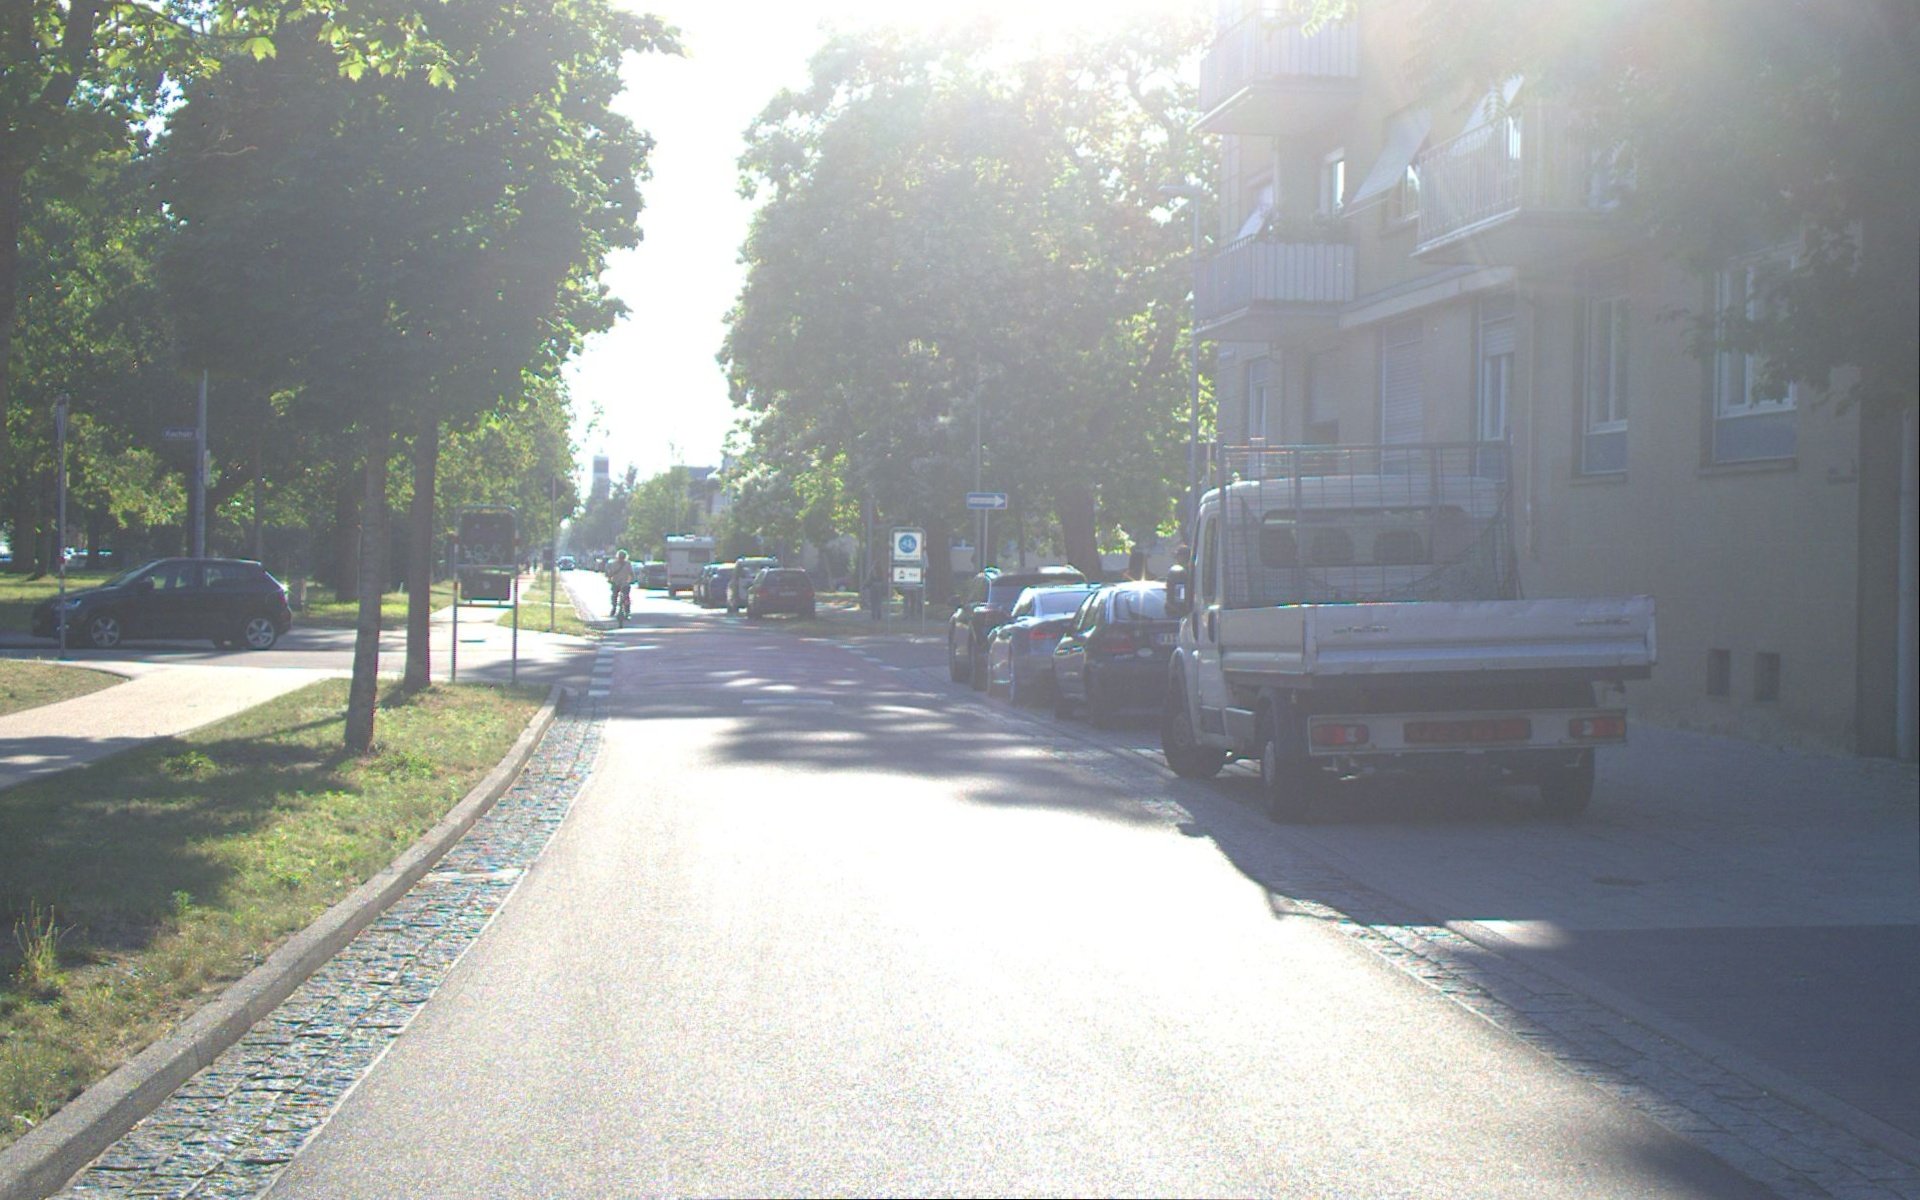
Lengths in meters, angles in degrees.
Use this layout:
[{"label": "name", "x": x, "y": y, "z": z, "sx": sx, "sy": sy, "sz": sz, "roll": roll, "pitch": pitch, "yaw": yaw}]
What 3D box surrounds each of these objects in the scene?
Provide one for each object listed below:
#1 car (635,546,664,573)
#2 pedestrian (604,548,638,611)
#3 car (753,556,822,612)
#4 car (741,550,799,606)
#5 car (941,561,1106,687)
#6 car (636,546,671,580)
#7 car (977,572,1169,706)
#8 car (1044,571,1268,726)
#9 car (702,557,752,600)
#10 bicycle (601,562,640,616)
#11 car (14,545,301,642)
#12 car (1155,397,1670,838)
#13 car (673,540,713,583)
[{"label": "car", "x": -23.224, "y": -3.057, "z": 257.258, "sx": 1.993, "sy": 1.963, "sz": 4.001, "roll": 2, "pitch": 1, "yaw": -5}, {"label": "pedestrian", "x": -7.863, "y": -0.485, "z": 79.783, "sx": 0.688, "sy": 1.429, "sz": 1.024, "roll": 2, "pitch": 1, "yaw": -1}, {"label": "car", "x": -4.905, "y": -0.471, "z": 98.103, "sx": 1.793, "sy": 1.504, "sz": 4.000, "roll": 2, "pitch": 1, "yaw": -1}, {"label": "car", "x": -6.223, "y": -0.732, "z": 112.055, "sx": 1.793, "sy": 1.718, "sz": 4.001, "roll": 2, "pitch": 1, "yaw": -4}, {"label": "car", "x": 0.790, "y": 0.278, "z": 45.220, "sx": 1.690, "sy": 1.560, "sz": 4.105, "roll": 0, "pitch": 1, "yaw": -6}, {"label": "car", "x": -18.302, "y": -2.229, "z": 205.488, "sx": 1.993, "sy": 1.963, "sz": 4.001, "roll": 2, "pitch": 1, "yaw": -5}, {"label": "car", "x": 1.255, "y": 0.408, "z": 39.762, "sx": 1.690, "sy": 1.435, "sz": 4.105, "roll": 0, "pitch": 1, "yaw": -6}, {"label": "car", "x": 1.897, "y": 0.442, "z": 34.215, "sx": 1.690, "sy": 1.435, "sz": 3.551, "roll": 0, "pitch": 1, "yaw": -6}, {"label": "car", "x": -8.581, "y": -0.821, "z": 126.689, "sx": 1.793, "sy": 1.504, "sz": 4.001, "roll": 2, "pitch": 1, "yaw": -4}, {"label": "bicycle", "x": -7.883, "y": -0.266, "z": 79.880, "sx": 0.688, "sy": 1.198, "sz": 2.343, "roll": 2, "pitch": 1, "yaw": -1}, {"label": "car", "x": -12.567, "y": -0.097, "z": 53.875, "sx": 3.987, "sy": 1.415, "sz": 1.772, "roll": 1, "pitch": 1, "yaw": -31}, {"label": "car", "x": 2.805, "y": 0.054, "z": 23.007, "sx": 2.211, "sy": 2.521, "sz": 6.148, "roll": -1, "pitch": 1, "yaw": -4}, {"label": "car", "x": -12.742, "y": -1.842, "z": 164.161, "sx": 1.793, "sy": 1.992, "sz": 4.001, "roll": 2, "pitch": 1, "yaw": -4}]
